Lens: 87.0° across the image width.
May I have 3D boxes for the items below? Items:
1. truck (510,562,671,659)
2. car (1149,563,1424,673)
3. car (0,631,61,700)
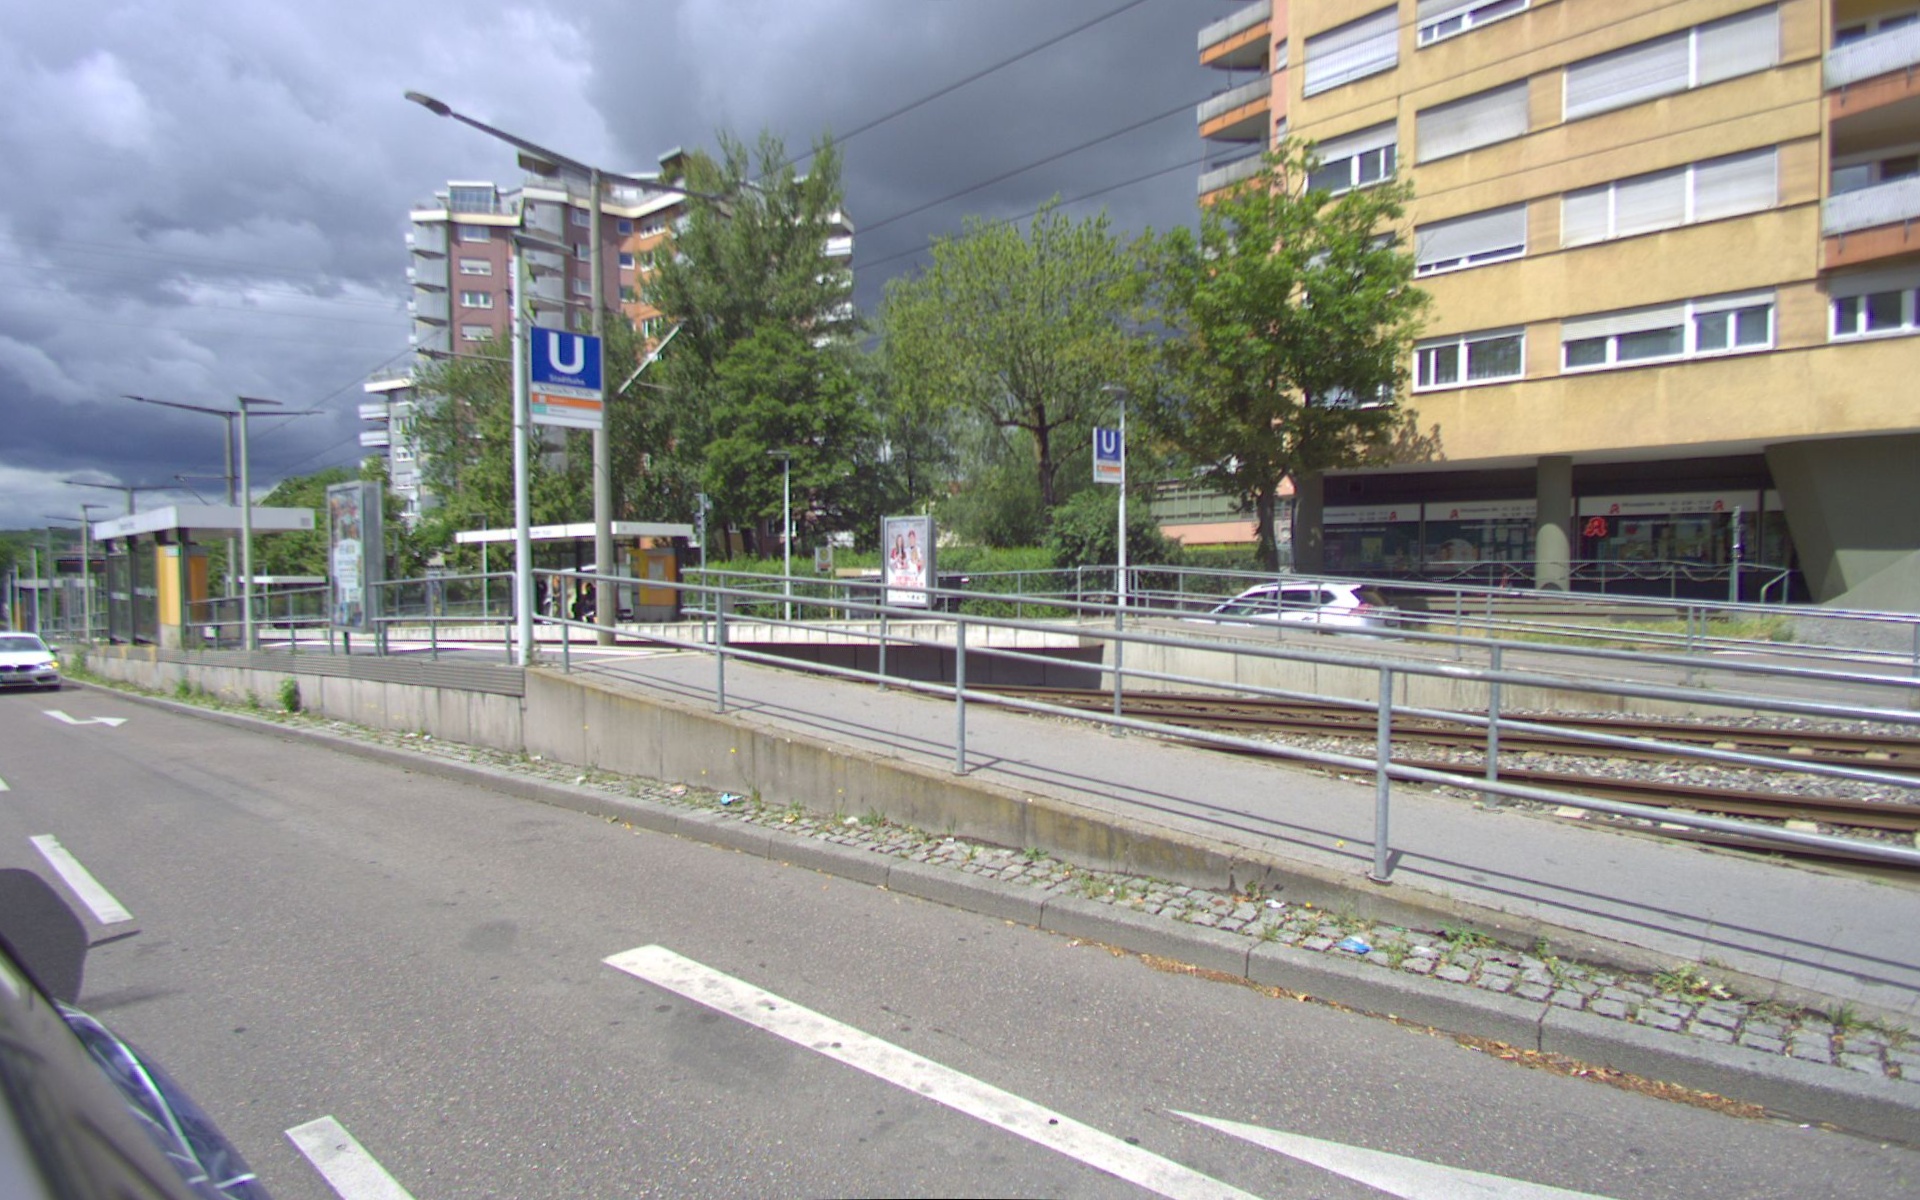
[{"bbox_3d":[-13.692,0.434,37.203,7.260,3.247,2.389,-2,-1,42],"label":"truck"},{"bbox_3d":[6.013,0.349,18.984,4.509,1.815,1.972,-1,-2,42],"label":"car"},{"bbox_3d":[-22.844,1.516,24.076,3.998,1.472,1.710,-1,0,42],"label":"car"}]
